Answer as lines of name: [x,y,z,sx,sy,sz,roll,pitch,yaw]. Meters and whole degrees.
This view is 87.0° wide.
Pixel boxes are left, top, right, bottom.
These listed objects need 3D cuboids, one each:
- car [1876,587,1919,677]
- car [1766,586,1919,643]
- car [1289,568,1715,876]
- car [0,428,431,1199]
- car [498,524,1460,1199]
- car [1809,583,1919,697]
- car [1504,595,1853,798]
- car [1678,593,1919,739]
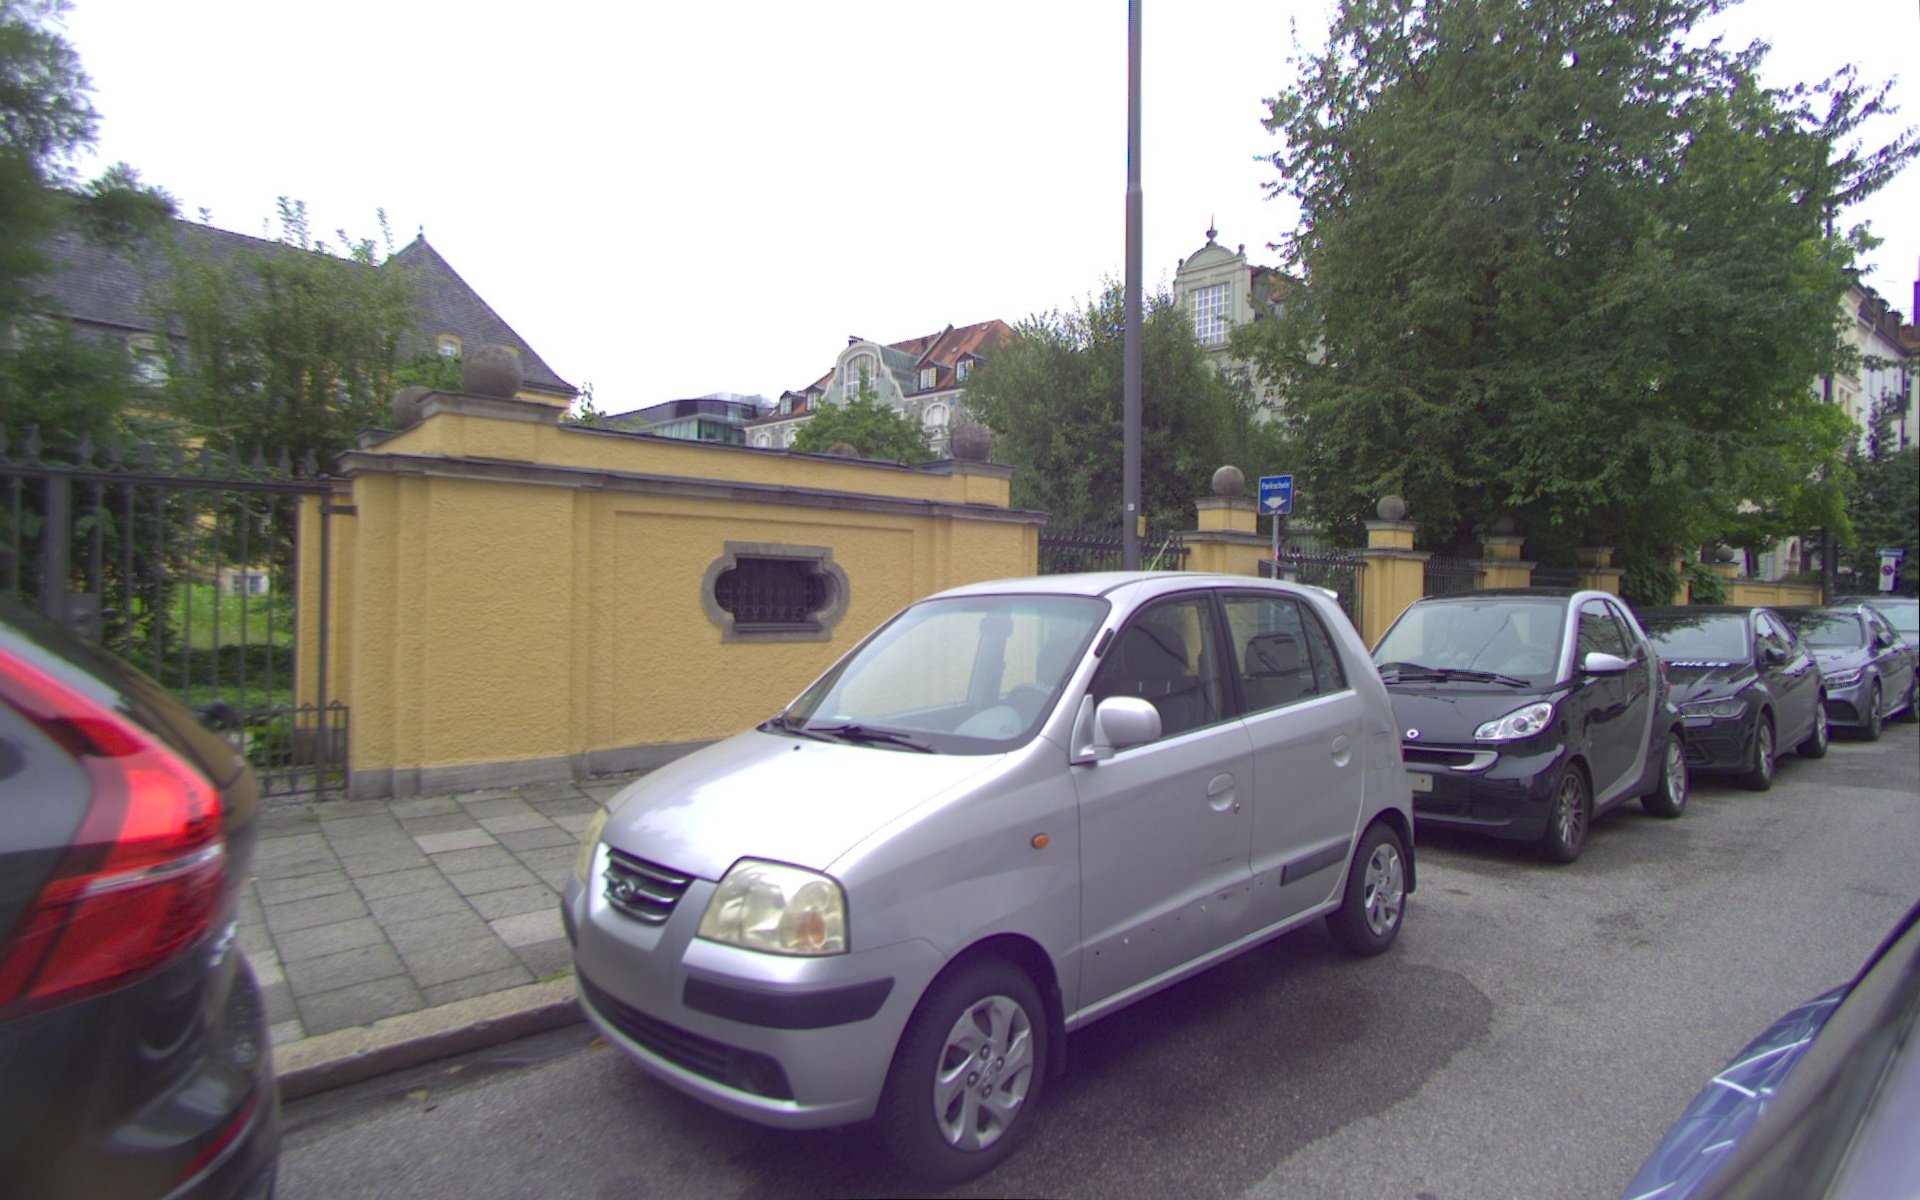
car: [18.958,0.596,19.230,4.243,1.590,1.717,0,1,-40]
car: [33.146,0.530,37.680,1.713,1.896,4.670,4,-1,-43]
car: [3.656,0.640,6.715,2.817,1.586,1.511,0,-1,-39]
car: [-3.161,0.634,0.602,4.741,1.674,1.886,0,-1,-42]
car: [0.397,0.641,3.826,3.630,1.559,1.486,0,-1,-43]
car: [15.093,0.579,16.034,4.607,1.590,1.717,0,1,-40]
car: [6.604,0.699,9.140,3.966,1.433,1.694,0,-1,-41]
car: [10.431,0.670,12.256,4.434,1.432,1.696,0,1,-39]
